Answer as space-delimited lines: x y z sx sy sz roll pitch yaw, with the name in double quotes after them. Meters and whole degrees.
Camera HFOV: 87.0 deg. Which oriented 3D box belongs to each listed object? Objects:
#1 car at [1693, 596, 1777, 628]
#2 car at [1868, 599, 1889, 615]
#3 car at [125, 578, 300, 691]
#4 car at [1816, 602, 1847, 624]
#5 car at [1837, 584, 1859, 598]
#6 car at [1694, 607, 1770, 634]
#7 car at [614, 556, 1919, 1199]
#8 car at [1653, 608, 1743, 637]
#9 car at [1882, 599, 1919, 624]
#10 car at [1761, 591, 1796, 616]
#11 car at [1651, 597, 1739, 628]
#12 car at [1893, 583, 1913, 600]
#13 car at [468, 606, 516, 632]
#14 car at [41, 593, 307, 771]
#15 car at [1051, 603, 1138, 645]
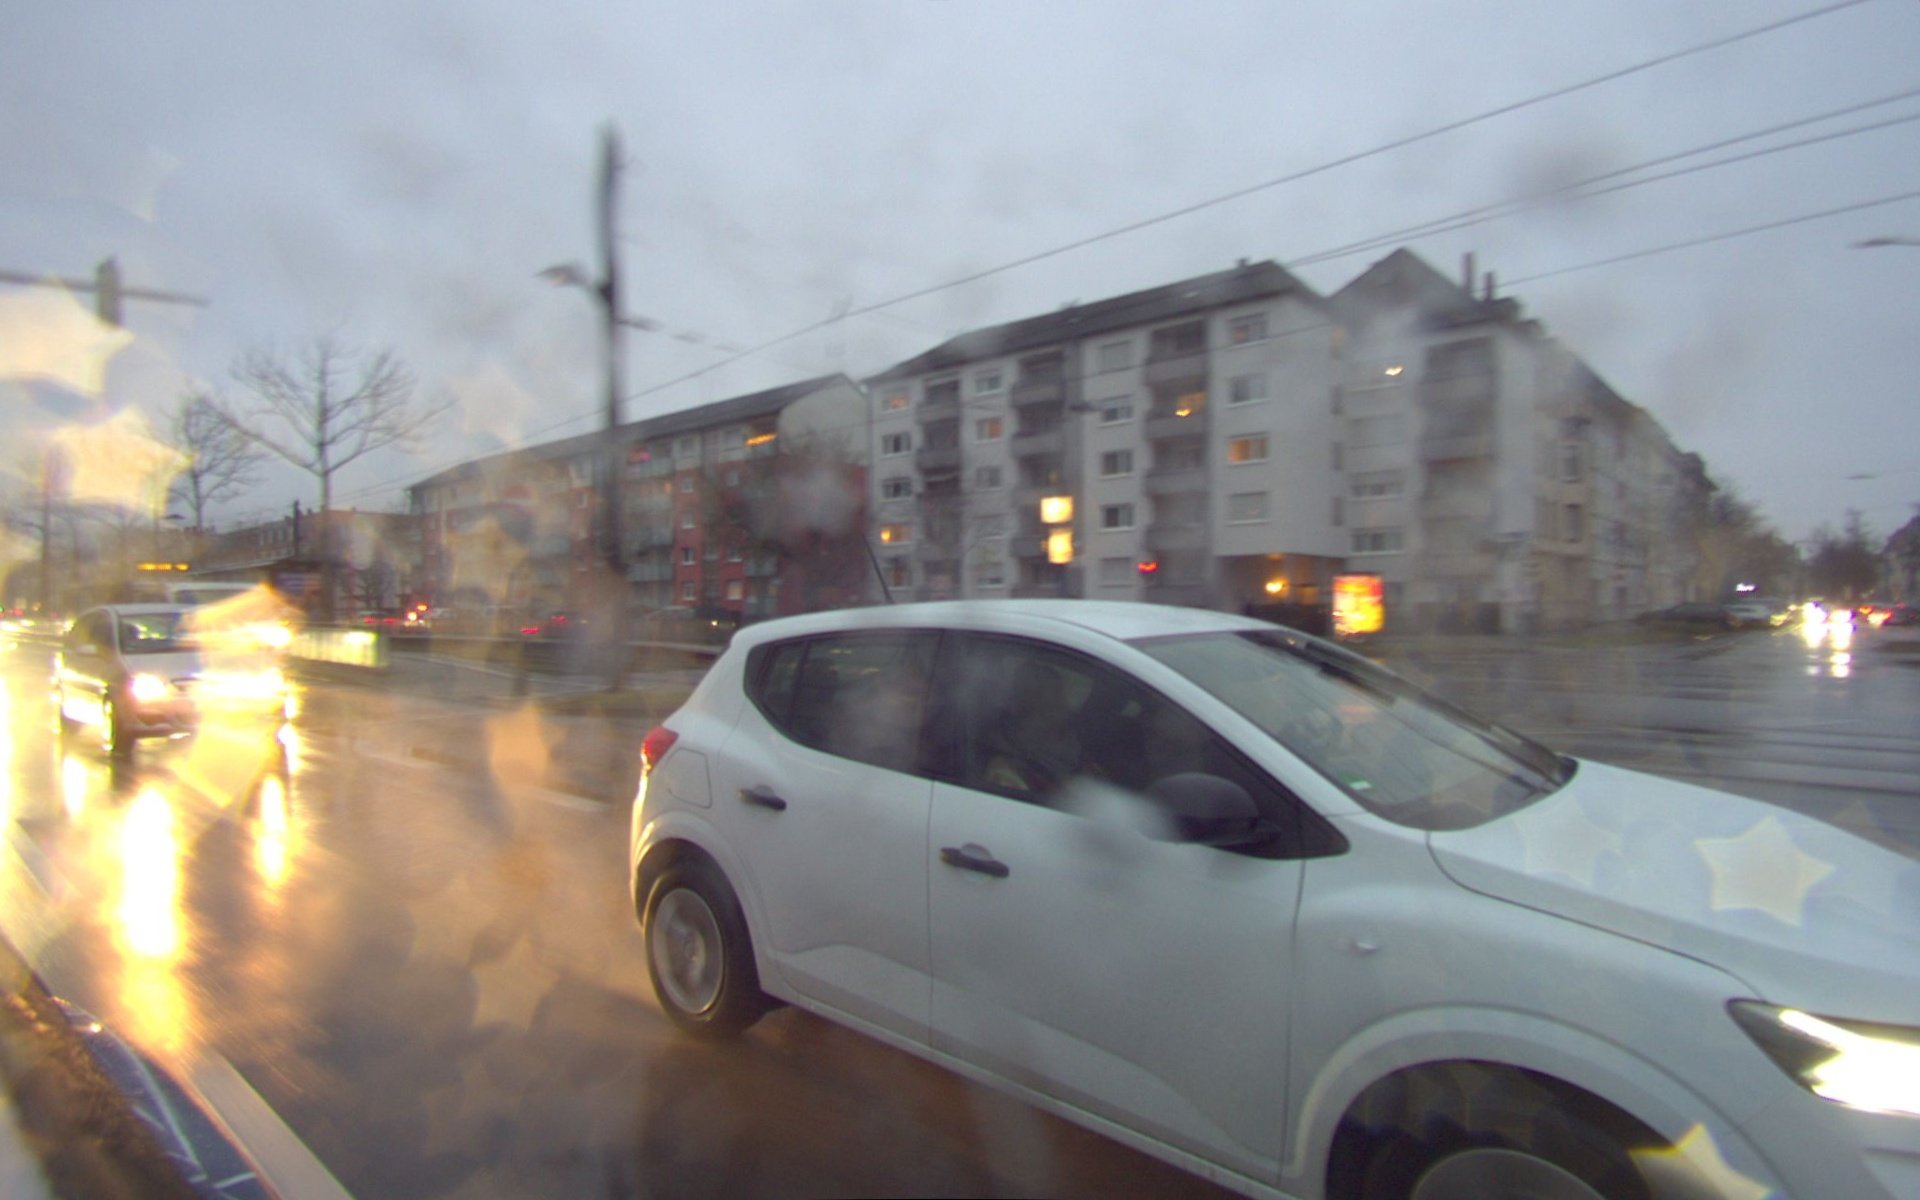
47.502 0.706 62.087 3.998 1.813 1.554 1 2 41 "car"
74.513 0.563 82.077 1.168 1.154 2.433 1 2 44 "car"
-15.420 0.628 20.773 4.882 2.049 1.932 -1 0 42 "car"
61.347 0.888 71.217 1.490 1.371 3.388 1 2 44 "car"
110.748 -1.170 126.277 1.757 1.612 3.861 0 2 37 "car"
45.676 1.185 59.924 3.514 1.456 1.425 1 2 41 "car"
0.848 0.645 2.923 3.997 1.477 1.691 1 2 41 "car"
35.950 1.075 49.351 3.452 1.308 1.568 1 2 41 "car"
58.470 0.689 62.762 3.482 1.357 1.687 -2 2 -44 "car"
66.205 0.270 81.845 2.000 1.844 3.809 1 2 43 "car"
38.687 0.622 53.309 3.615 1.533 1.658 1 2 41 "car"
103.219 -0.939 110.762 1.510 1.726 3.560 1 2 44 "car"
-33.800 1.348 73.027 4.152 1.657 1.706 1 2 44 "car"
-9.492 0.797 12.106 4.002 1.689 1.993 1 2 45 "car"
5.163 0.870 38.435 1.695 1.376 3.764 0 2 36 "car"
